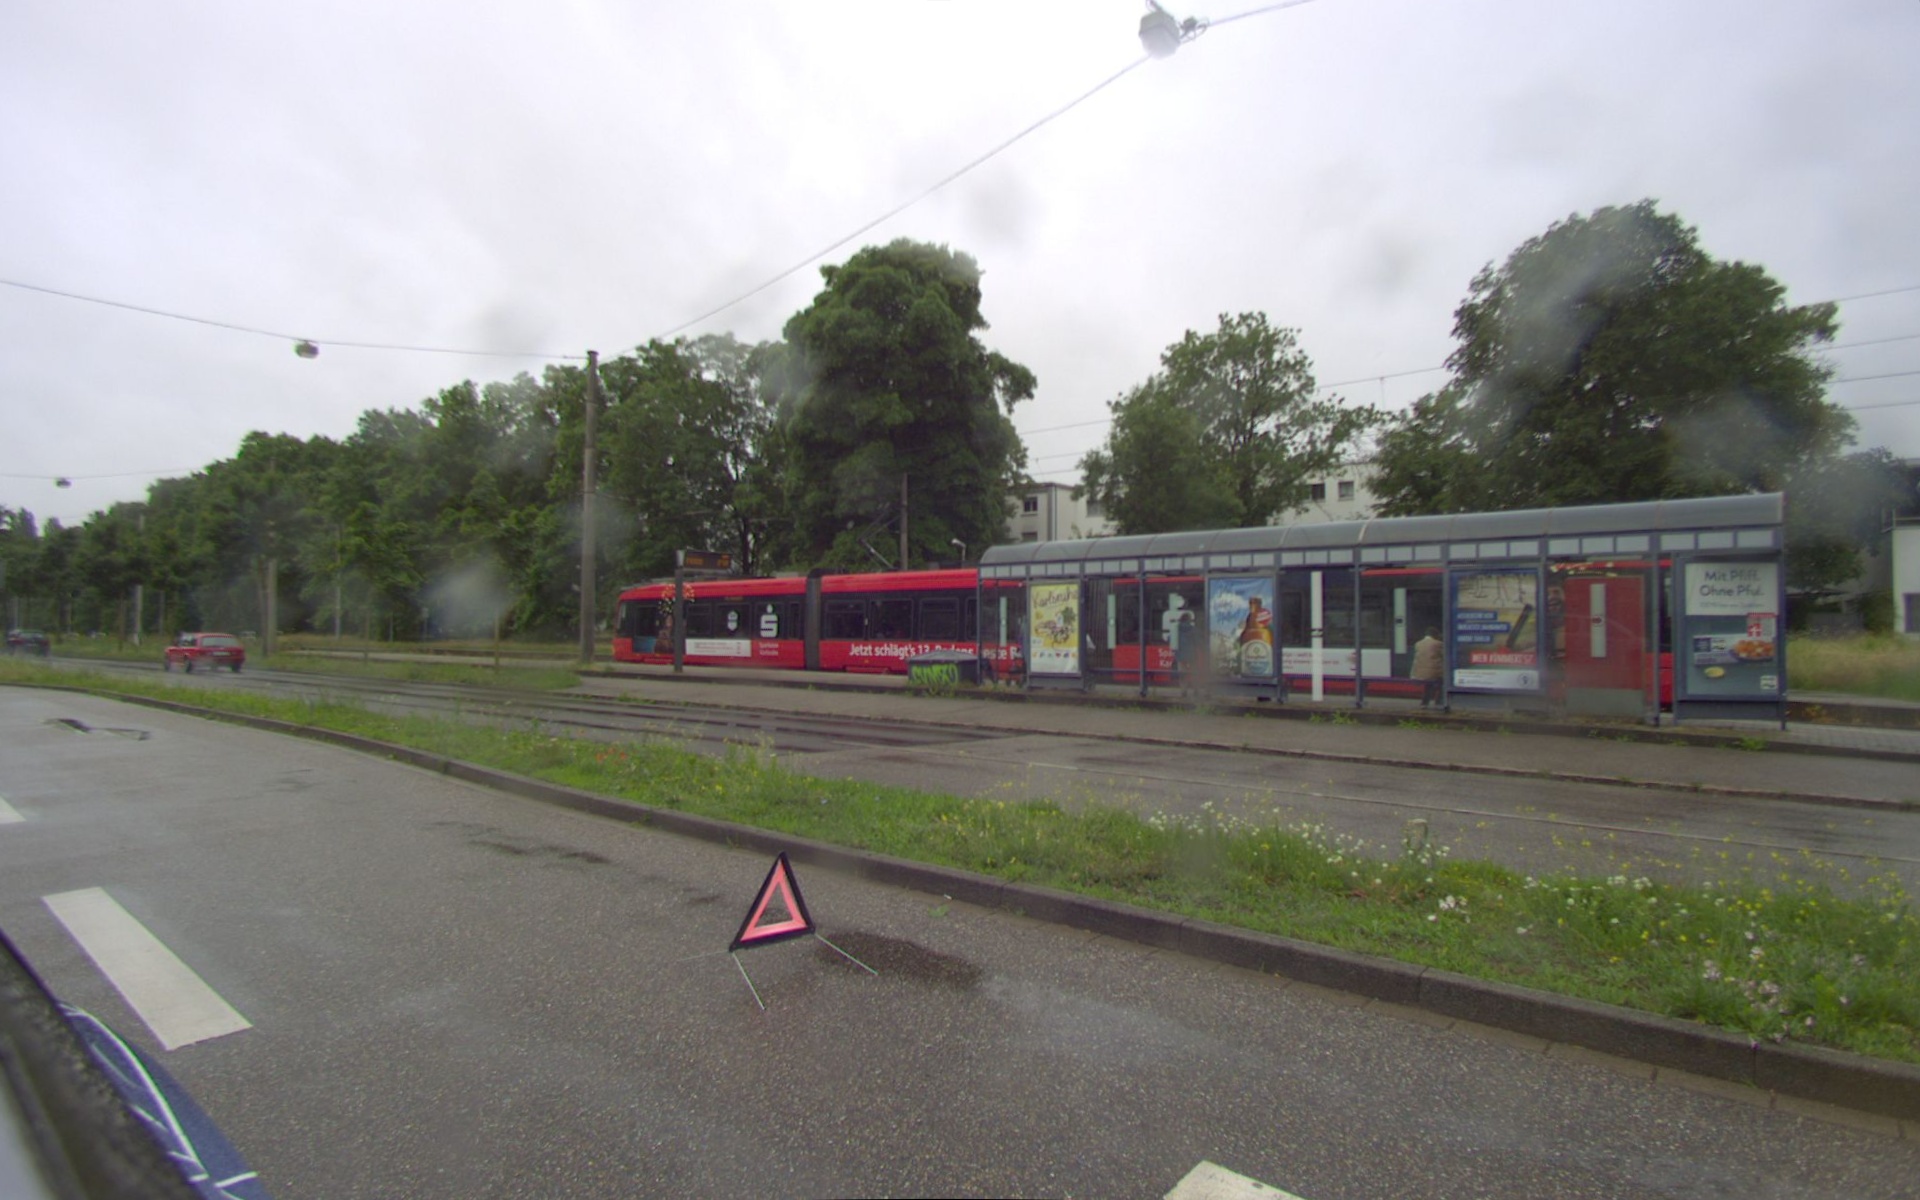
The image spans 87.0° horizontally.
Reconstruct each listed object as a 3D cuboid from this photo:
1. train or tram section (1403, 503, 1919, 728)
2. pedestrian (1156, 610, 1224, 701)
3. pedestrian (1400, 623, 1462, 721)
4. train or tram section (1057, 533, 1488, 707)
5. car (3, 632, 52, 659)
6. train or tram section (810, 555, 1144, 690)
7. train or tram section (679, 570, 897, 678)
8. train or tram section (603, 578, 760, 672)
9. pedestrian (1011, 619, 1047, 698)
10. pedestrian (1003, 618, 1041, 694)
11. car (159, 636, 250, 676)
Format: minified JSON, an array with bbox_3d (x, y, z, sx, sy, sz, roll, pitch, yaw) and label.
[{"bbox_3d":[13.531,0.337,18.557,9.274,3.415,3.496,-2,-3,41],"label":"train or tram section"},{"bbox_3d":[4.194,0.995,18.485,0.929,1.609,0.795,-2,-2,44],"label":"pedestrian"},{"bbox_3d":[7.279,1.095,15.638,0.699,1.464,0.618,-2,-3,43],"label":"pedestrian"},{"bbox_3d":[7.102,0.525,24.233,9.274,3.416,3.496,-2,-3,41],"label":"train or tram section"},{"bbox_3d":[-54.573,2.620,59.197,3.819,1.448,1.718,-1,-1,42],"label":"car"},{"bbox_3d":[0.170,0.715,30.387,10.256,3.427,3.496,-2,-3,42],"label":"train or tram section"},{"bbox_3d":[-6.277,0.888,36.134,7.899,3.438,3.496,-2,-3,41],"label":"train or tram section"},{"bbox_3d":[-11.191,1.012,40.501,5.767,3.444,3.496,-2,-3,41],"label":"train or tram section"},{"bbox_3d":[1.407,1.177,20.705,0.437,1.574,0.603,-1,0,-35],"label":"pedestrian"},{"bbox_3d":[1.309,1.164,21.369,0.514,1.574,0.603,-1,0,-35],"label":"pedestrian"},{"bbox_3d":[-27.664,2.020,37.018,4.247,1.371,1.663,-1,-4,39],"label":"car"}]
